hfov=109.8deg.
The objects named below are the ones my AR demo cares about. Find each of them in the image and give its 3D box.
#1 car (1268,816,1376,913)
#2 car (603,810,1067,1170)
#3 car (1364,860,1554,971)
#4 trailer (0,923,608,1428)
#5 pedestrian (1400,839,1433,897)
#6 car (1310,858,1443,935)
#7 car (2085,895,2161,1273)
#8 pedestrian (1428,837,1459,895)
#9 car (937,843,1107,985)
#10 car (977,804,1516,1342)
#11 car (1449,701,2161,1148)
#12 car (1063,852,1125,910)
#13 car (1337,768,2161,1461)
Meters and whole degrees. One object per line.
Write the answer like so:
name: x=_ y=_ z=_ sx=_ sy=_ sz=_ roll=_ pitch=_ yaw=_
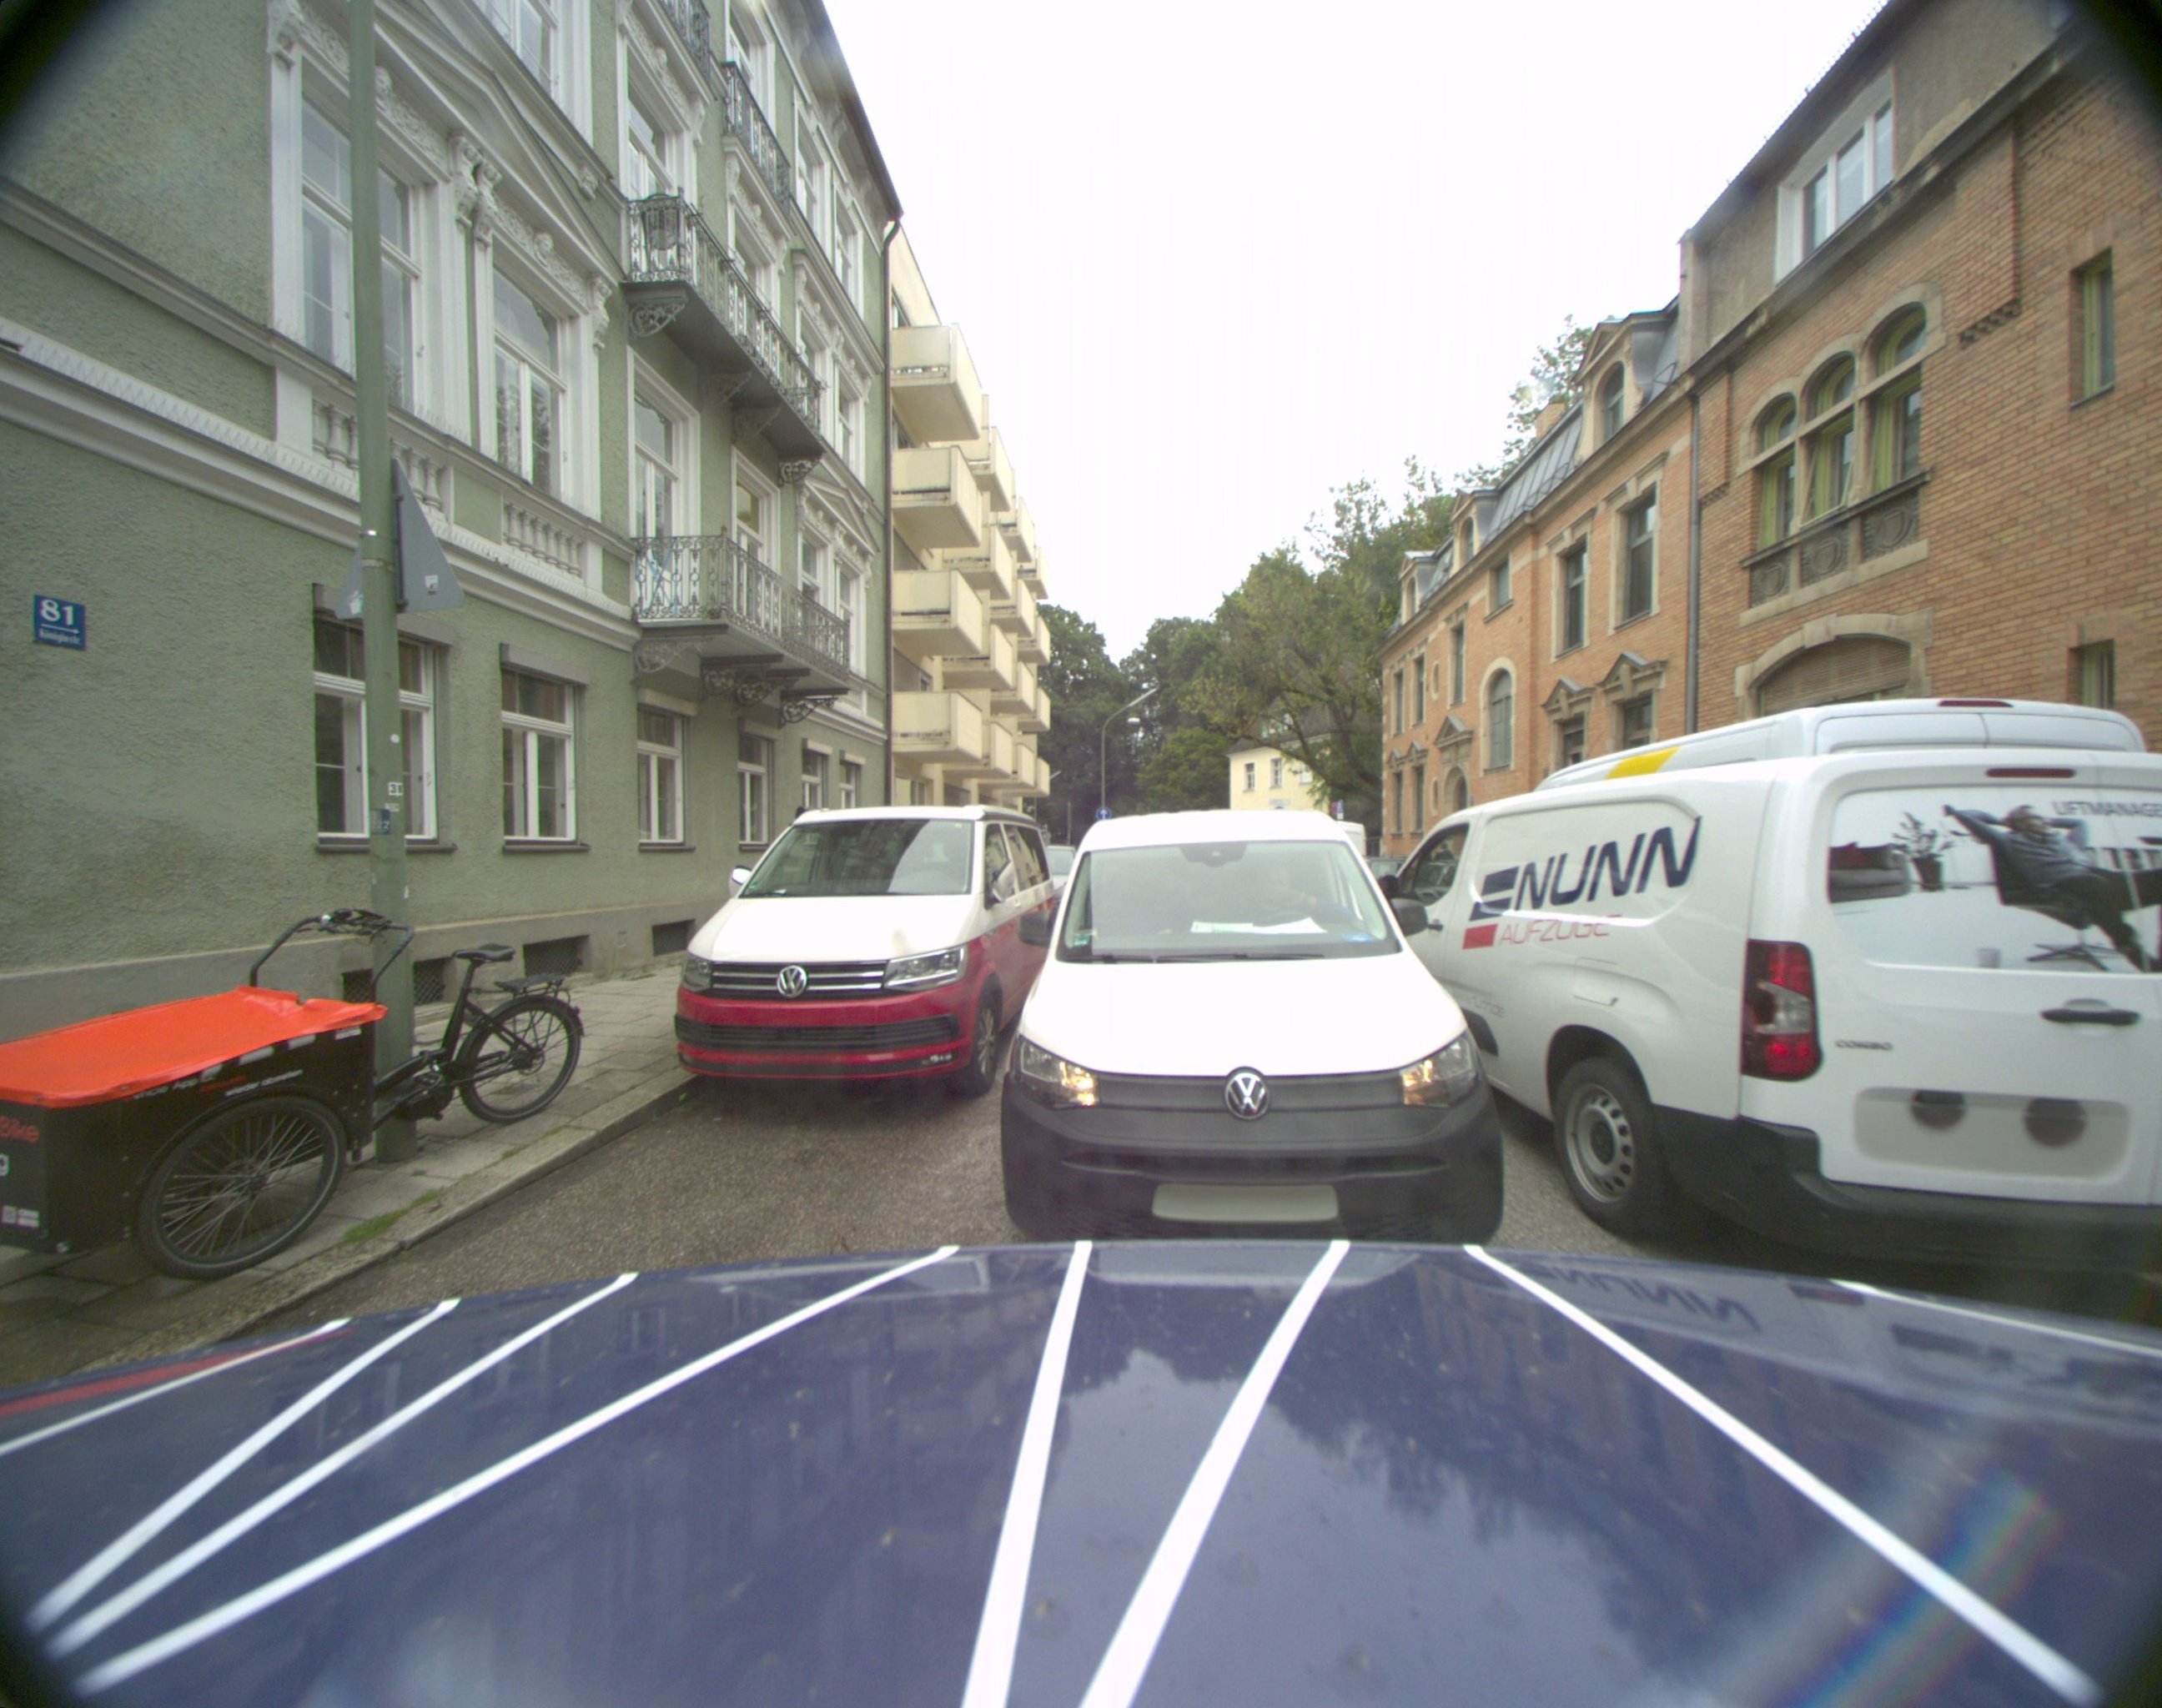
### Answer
car: x=7.059 y=0.284 z=22.759 sx=2.117 sy=2.525 sz=4.423 roll=3 pitch=0 yaw=6
car: x=-1.386 y=0.737 z=6.346 sx=1.857 sy=1.885 sz=4.593 roll=-2 pitch=0 yaw=7
car: x=5.862 y=0.860 z=12.249 sx=1.526 sy=1.434 sz=3.542 roll=2 pitch=1 yaw=5
trailer: x=-3.351 y=1.027 z=3.310 sx=0.943 sy=1.177 sz=2.166 roll=3 pitch=1 yaw=10
pedestrian: x=9.655 y=0.393 z=21.882 sx=0.633 sy=1.623 sz=0.675 roll=2 pitch=1 yaw=6
car: x=6.455 y=0.846 z=17.051 sx=1.693 sy=1.434 sz=3.985 roll=2 pitch=1 yaw=5
car: x=4.829 y=0.922 z=0.996 sx=1.693 sy=1.434 sz=4.146 roll=1 pitch=1 yaw=5
pedestrian: x=10.410 y=0.343 z=21.811 sx=0.633 sy=1.623 sz=0.467 roll=2 pitch=1 yaw=6
car: x=-0.676 y=0.769 z=11.877 sx=1.831 sy=1.747 sz=4.555 roll=-2 pitch=0 yaw=5
car: x=0.751 y=0.701 z=4.555 sx=1.775 sy=1.761 sz=4.002 roll=0 pitch=1 yaw=7
car: x=5.405 y=0.353 z=6.871 sx=1.985 sy=2.464 sz=5.224 roll=1 pitch=1 yaw=5
car: x=0.476 y=0.770 z=23.359 sx=1.550 sy=1.562 sz=3.979 roll=-2 pitch=0 yaw=5
car: x=2.920 y=0.656 z=4.234 sx=1.775 sy=1.793 sz=4.573 roll=0 pitch=1 yaw=5
